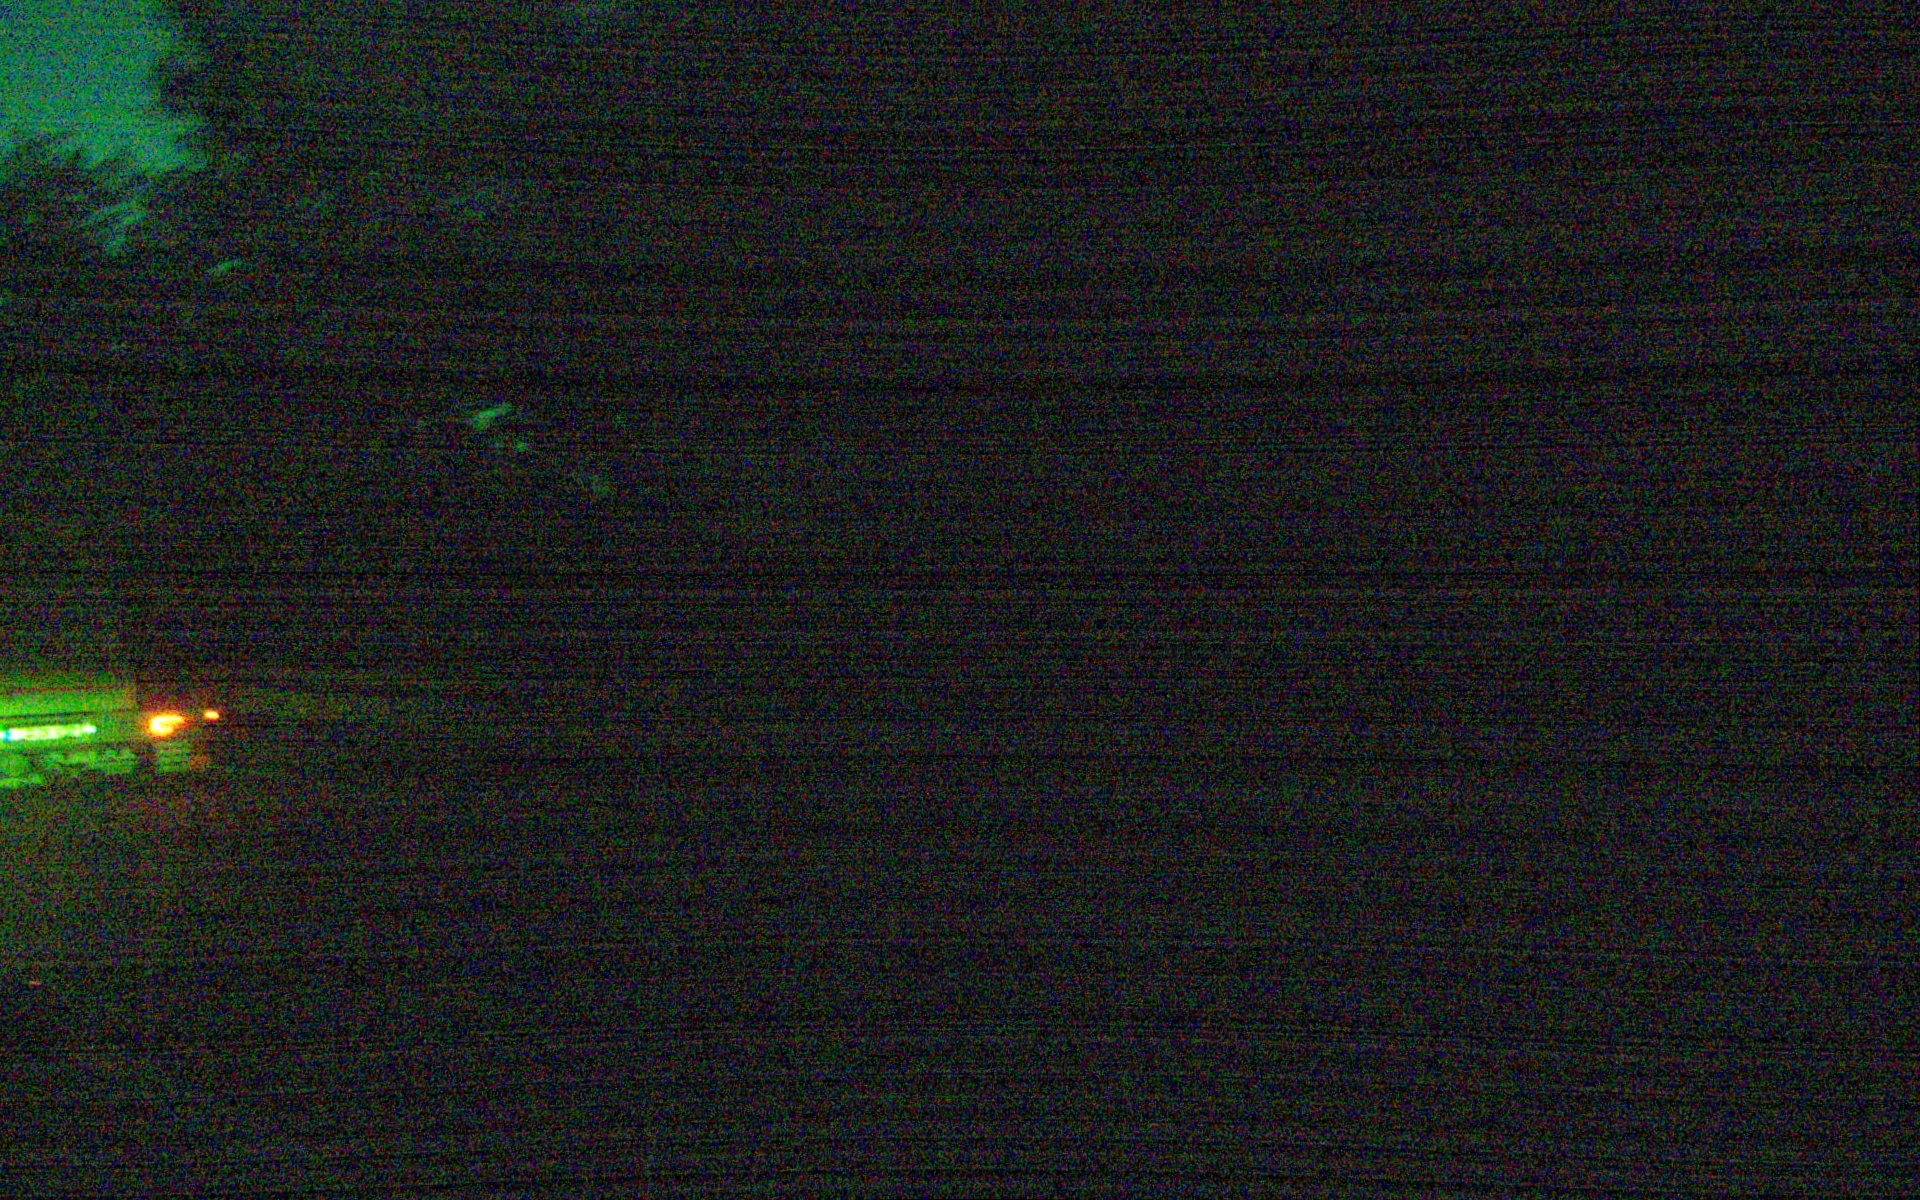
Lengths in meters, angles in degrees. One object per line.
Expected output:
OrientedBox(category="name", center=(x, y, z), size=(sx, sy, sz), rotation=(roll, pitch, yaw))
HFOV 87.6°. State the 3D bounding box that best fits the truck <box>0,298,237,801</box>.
OrientedBox(category="truck", center=(-13.217, -0.291, 12.038), size=(12.953, 4.159, 2.683), rotation=(-1, -1, 32))
